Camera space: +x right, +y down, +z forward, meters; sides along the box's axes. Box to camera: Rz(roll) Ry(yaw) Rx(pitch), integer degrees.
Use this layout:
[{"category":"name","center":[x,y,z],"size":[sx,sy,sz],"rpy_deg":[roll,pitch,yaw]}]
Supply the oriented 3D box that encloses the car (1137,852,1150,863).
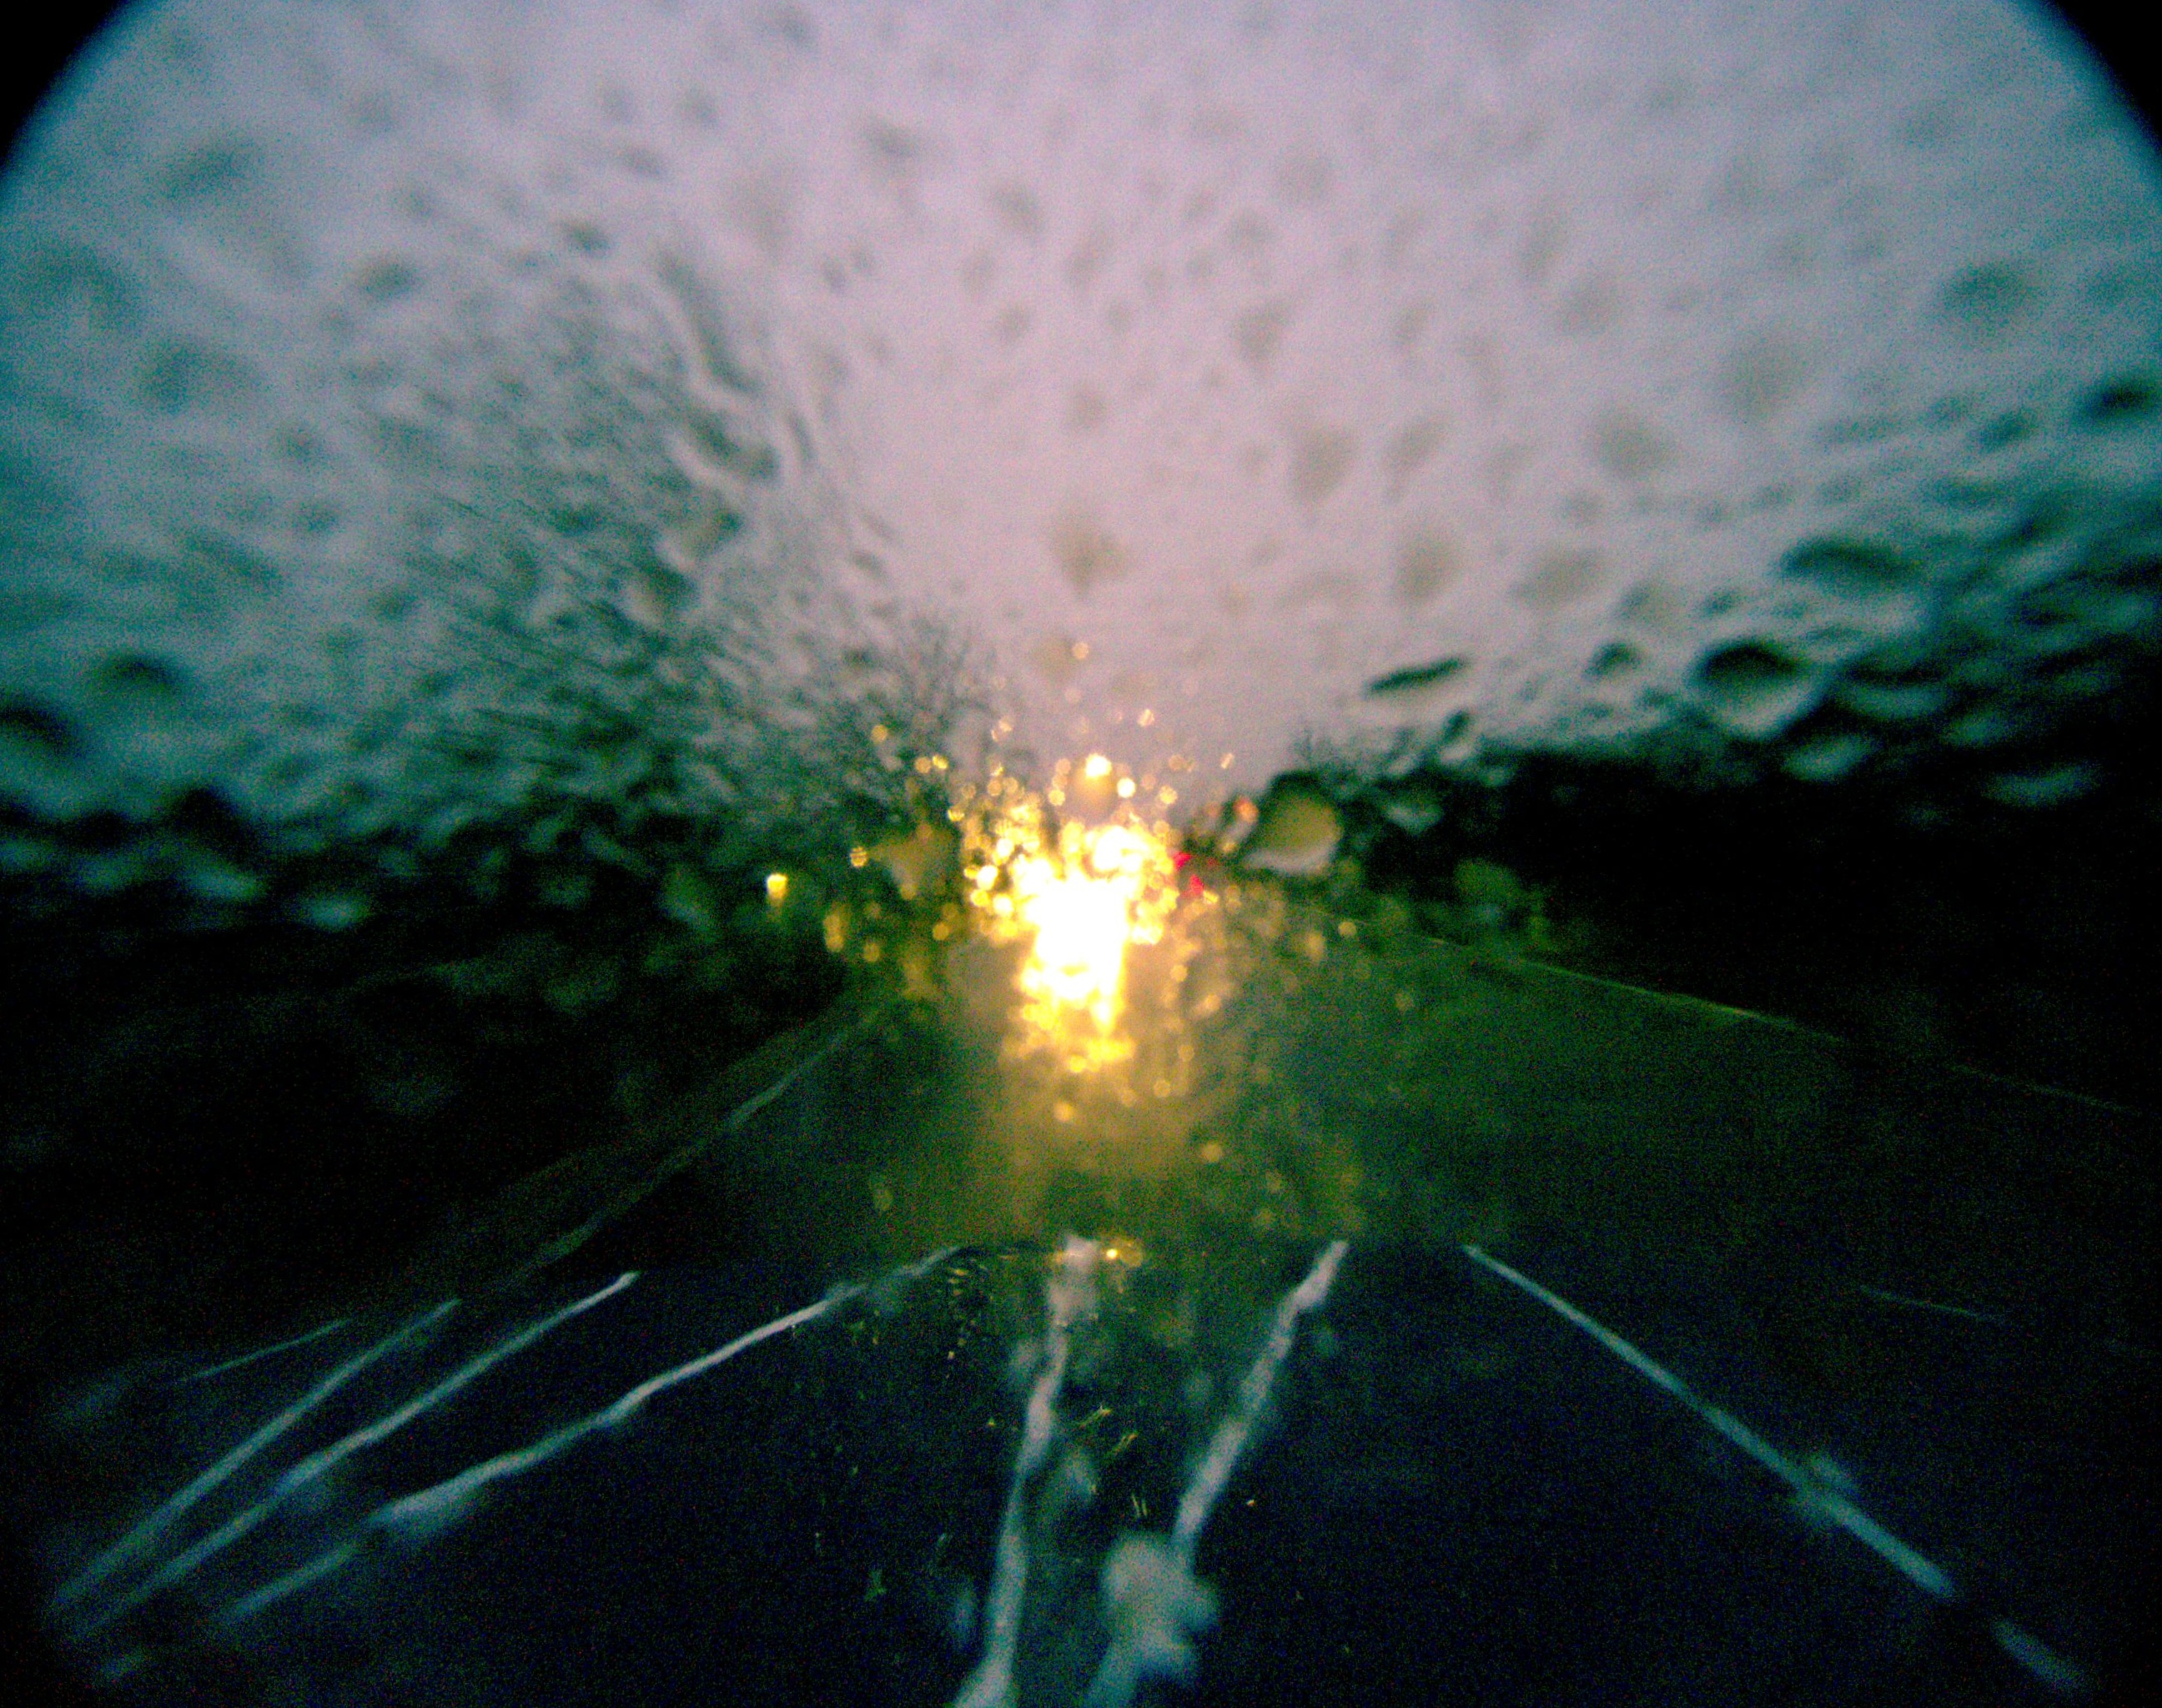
[{"category":"car","center":[8.952,0.509,109.167],"size":[1.780,1.599,3.774],"rpy_deg":[0,1,2]}]

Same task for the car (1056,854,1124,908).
[{"category":"car","center":[0.391,0.856,26.133],"size":[1.998,1.601,4.001],"rpy_deg":[-2,0,4]}]

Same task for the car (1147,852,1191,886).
[{"category":"car","center":[4.331,0.718,37.861],"size":[1.695,1.521,4.085],"rpy_deg":[-2,0,1]}]
